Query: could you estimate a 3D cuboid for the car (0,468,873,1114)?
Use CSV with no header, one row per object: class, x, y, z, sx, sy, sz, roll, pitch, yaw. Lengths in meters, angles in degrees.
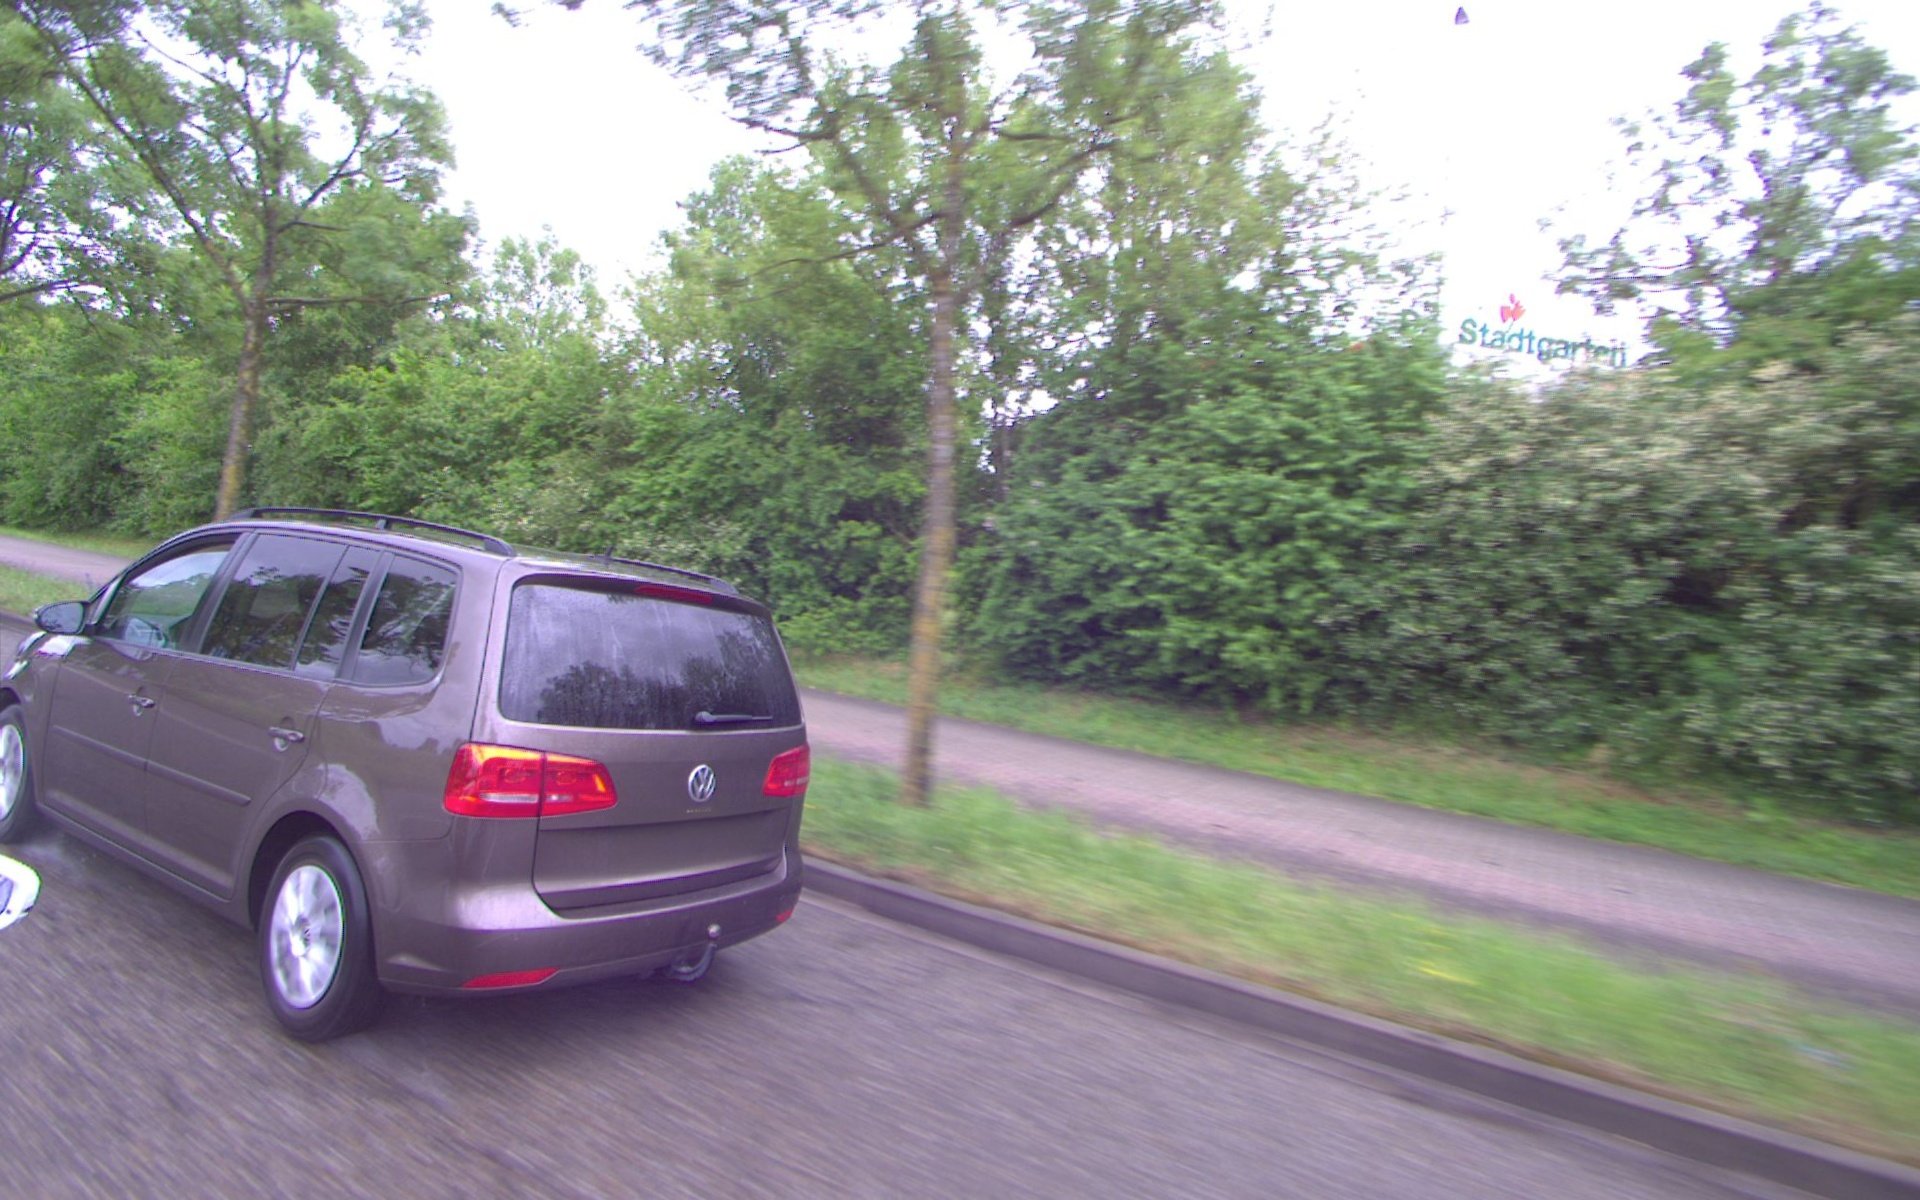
car,-2.612,0.442,4.448,4.061,1.615,1.717,6,-2,31
